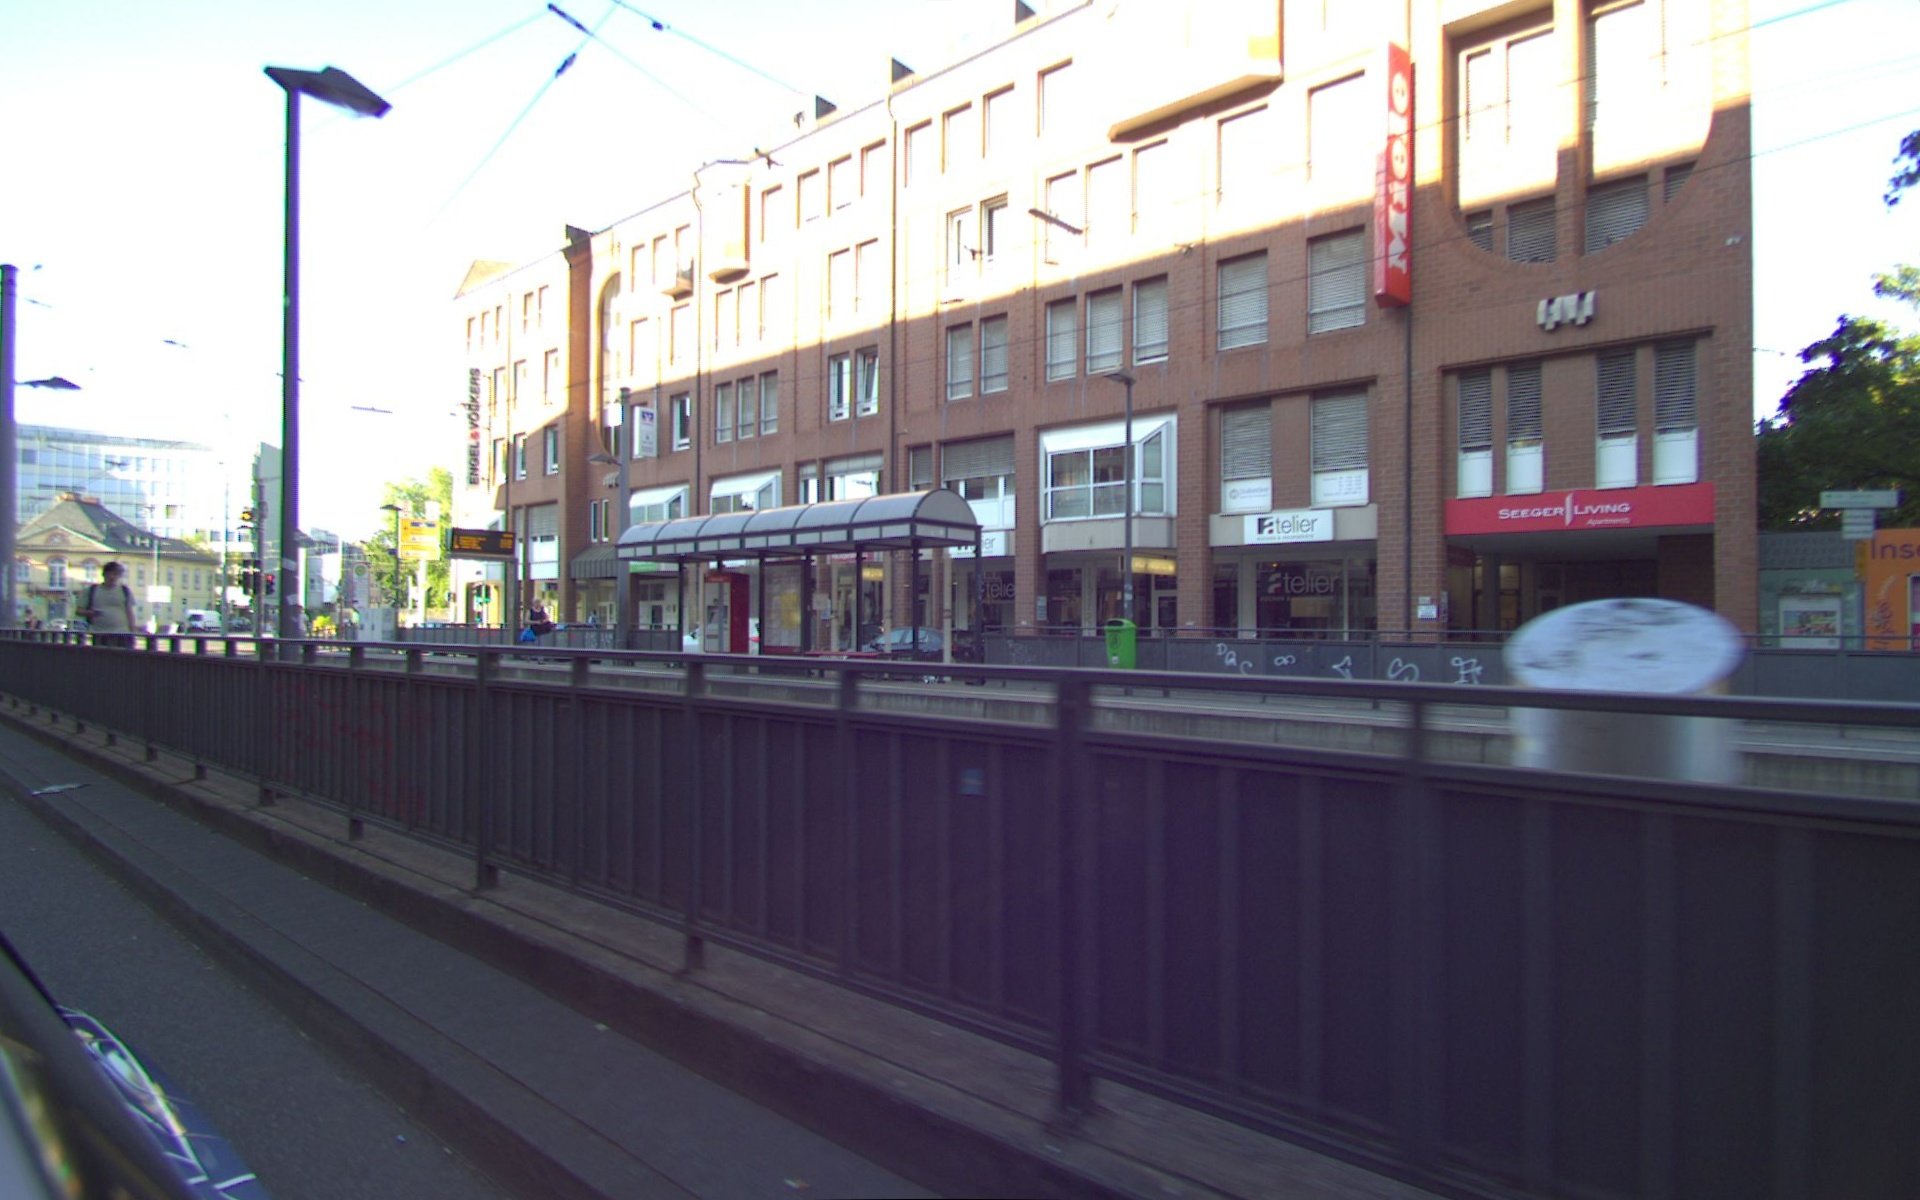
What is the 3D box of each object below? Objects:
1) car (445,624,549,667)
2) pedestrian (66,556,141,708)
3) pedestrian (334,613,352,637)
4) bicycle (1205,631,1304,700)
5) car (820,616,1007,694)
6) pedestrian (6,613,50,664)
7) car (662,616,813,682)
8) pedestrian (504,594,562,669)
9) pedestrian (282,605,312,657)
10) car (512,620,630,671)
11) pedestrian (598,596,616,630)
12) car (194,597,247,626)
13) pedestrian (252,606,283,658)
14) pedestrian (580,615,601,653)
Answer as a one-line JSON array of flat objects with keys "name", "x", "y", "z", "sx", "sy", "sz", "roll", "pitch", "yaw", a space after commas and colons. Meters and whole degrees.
[{"name": "car", "x": -17.329, "y": 1.685, "z": 37.821, "sx": 4.116, "sy": 1.541, "sz": 1.883, "roll": -2, "pitch": -3, "yaw": 39}, {"name": "pedestrian", "x": -10.468, "y": 0.382, "z": 12.375, "sx": 0.605, "sy": 1.805, "sz": 0.577, "roll": -1, "pitch": -1, "yaw": 38}, {"name": "pedestrian", "x": -53.416, "y": 2.142, "z": 87.614, "sx": 0.990, "sy": 2.029, "sz": 1.058, "roll": -1, "pitch": 1, "yaw": 44}, {"name": "bicycle", "x": 6.478, "y": 1.396, "z": 22.148, "sx": 2.578, "sy": 1.291, "sz": 0.841, "roll": -2, "pitch": 1, "yaw": -42}, {"name": "car", "x": -1.166, "y": 1.249, "z": 24.061, "sx": 4.288, "sy": 1.606, "sz": 1.890, "roll": 1, "pitch": -2, "yaw": 41}, {"name": "pedestrian", "x": -33.953, "y": 1.401, "z": 36.878, "sx": 0.852, "sy": 1.817, "sz": 0.808, "roll": -1, "pitch": 1, "yaw": 12}, {"name": "car", "x": -6.261, "y": 1.315, "z": 28.214, "sx": 4.288, "sy": 1.606, "sz": 1.890, "roll": 1, "pitch": -2, "yaw": 41}, {"name": "pedestrian", "x": -9.912, "y": 0.721, "z": 23.493, "sx": 0.966, "sy": 1.674, "sz": 0.902, "roll": -1, "pitch": -1, "yaw": 39}, {"name": "pedestrian", "x": -23.776, "y": 1.099, "z": 36.287, "sx": 0.847, "sy": 1.780, "sz": 0.813, "roll": -2, "pitch": 1, "yaw": -35}, {"name": "car", "x": -13.157, "y": 1.504, "z": 34.149, "sx": 4.192, "sy": 1.612, "sz": 1.874, "roll": -2, "pitch": -2, "yaw": 39}, {"name": "pedestrian", "x": -17.264, "y": 0.645, "z": 49.485, "sx": 0.636, "sy": 1.674, "sz": 0.605, "roll": -1, "pitch": -1, "yaw": 39}, {"name": "car", "x": -84.709, "y": 1.333, "z": 116.080, "sx": 2.501, "sy": 3.071, "sz": 6.391, "roll": 2, "pitch": -1, "yaw": -13}, {"name": "pedestrian", "x": -24.469, "y": 1.117, "z": 35.748, "sx": 0.847, "sy": 1.780, "sz": 0.813, "roll": -2, "pitch": 1, "yaw": -36}, {"name": "pedestrian", "x": -16.064, "y": 1.469, "z": 43.993, "sx": 0.636, "sy": 1.674, "sz": 0.605, "roll": -1, "pitch": -1, "yaw": 39}]
